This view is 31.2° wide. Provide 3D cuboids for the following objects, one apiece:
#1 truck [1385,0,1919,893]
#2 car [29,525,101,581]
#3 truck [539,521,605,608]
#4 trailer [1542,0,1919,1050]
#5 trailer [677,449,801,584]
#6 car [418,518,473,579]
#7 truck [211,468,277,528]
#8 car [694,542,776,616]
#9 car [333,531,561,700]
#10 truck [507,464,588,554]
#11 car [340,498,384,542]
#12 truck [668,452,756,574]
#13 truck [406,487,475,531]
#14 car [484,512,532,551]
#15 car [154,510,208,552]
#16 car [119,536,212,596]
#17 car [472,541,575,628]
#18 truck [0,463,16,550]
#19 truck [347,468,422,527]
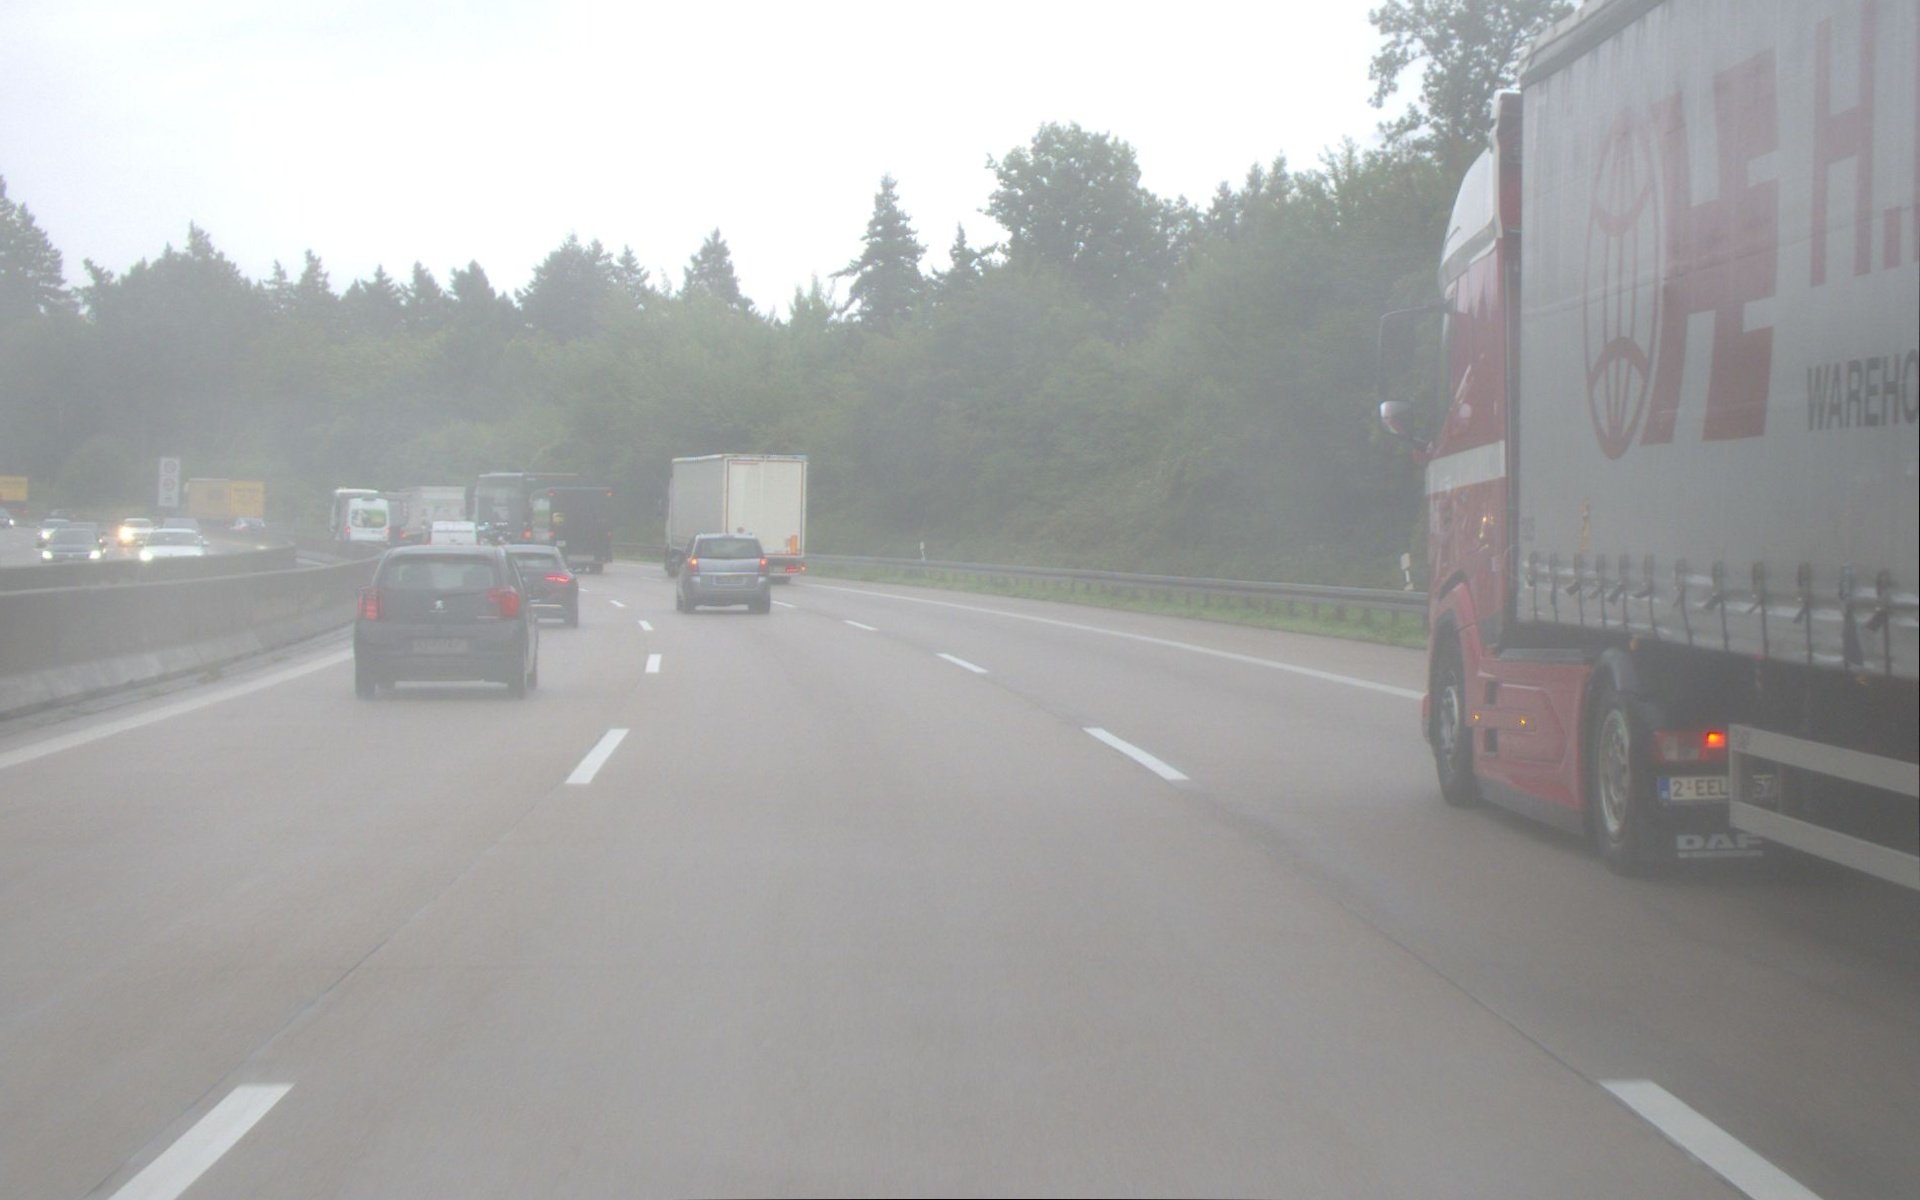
[{"bbox_3d":[3.879,-0.747,18.091,2.375,3.940,6.160,0,1,-1],"label":"truck"},{"bbox_3d":[-27.651,-1.469,106.305,1.808,1.678,4.001,0,1,-9],"label":"car"},{"bbox_3d":[-14.310,-1.348,126.746,2.269,2.877,7.905,1,2,-7],"label":"truck"},{"bbox_3d":[4.073,-0.614,9.962,2.370,3.940,12.522,0,1,-1],"label":"trailer"},{"bbox_3d":[-7.199,-2.727,110.387,2.419,4.054,12.059,1,2,-11],"label":"trailer"},{"bbox_3d":[-17.314,-1.746,115.774,1.725,2.007,3.658,0,1,-7],"label":"car"},{"bbox_3d":[-51.596,-7.314,247.651,3.739,4.195,6.820,0,1,-19],"label":"truck"},{"bbox_3d":[-4.540,-0.446,69.720,1.553,1.347,3.684,3,1,-3],"label":"car"},{"bbox_3d":[-4.936,0.107,33.506,1.684,1.457,3.684,3,1,-1],"label":"car"},{"bbox_3d":[-19.702,-4.368,163.682,3.368,4.117,10.441,1,2,-9],"label":"truck"},{"bbox_3d":[-27.857,-3.723,160.109,1.993,2.052,4.001,0,1,-10],"label":"car"},{"bbox_3d":[-8.500,-2.993,117.473,2.419,4.054,4.980,1,2,-10],"label":"truck"},{"bbox_3d":[-29.461,-5.186,194.787,2.973,2.301,6.669,3,1,-16],"label":"truck"},{"bbox_3d":[-18.799,-2.864,143.159,1.881,1.468,4.001,3,1,-7],"label":"car"},{"bbox_3d":[-34.025,-3.025,150.248,1.993,1.762,4.538,0,1,-9],"label":"car"},{"bbox_3d":[-21.292,-0.924,92.215,1.741,1.555,4.284,0,1,-3],"label":"car"},{"bbox_3d":[-7.447,-0.284,58.892,1.553,1.347,3.684,3,1,-5],"label":"car"},{"bbox_3d":[-45.312,-4.297,157.939,2.926,3.947,8.120,0,1,-10],"label":"truck"},{"bbox_3d":[-30.723,-5.489,183.375,3.081,2.895,7.906,1,2,-15],"label":"truck"}]
